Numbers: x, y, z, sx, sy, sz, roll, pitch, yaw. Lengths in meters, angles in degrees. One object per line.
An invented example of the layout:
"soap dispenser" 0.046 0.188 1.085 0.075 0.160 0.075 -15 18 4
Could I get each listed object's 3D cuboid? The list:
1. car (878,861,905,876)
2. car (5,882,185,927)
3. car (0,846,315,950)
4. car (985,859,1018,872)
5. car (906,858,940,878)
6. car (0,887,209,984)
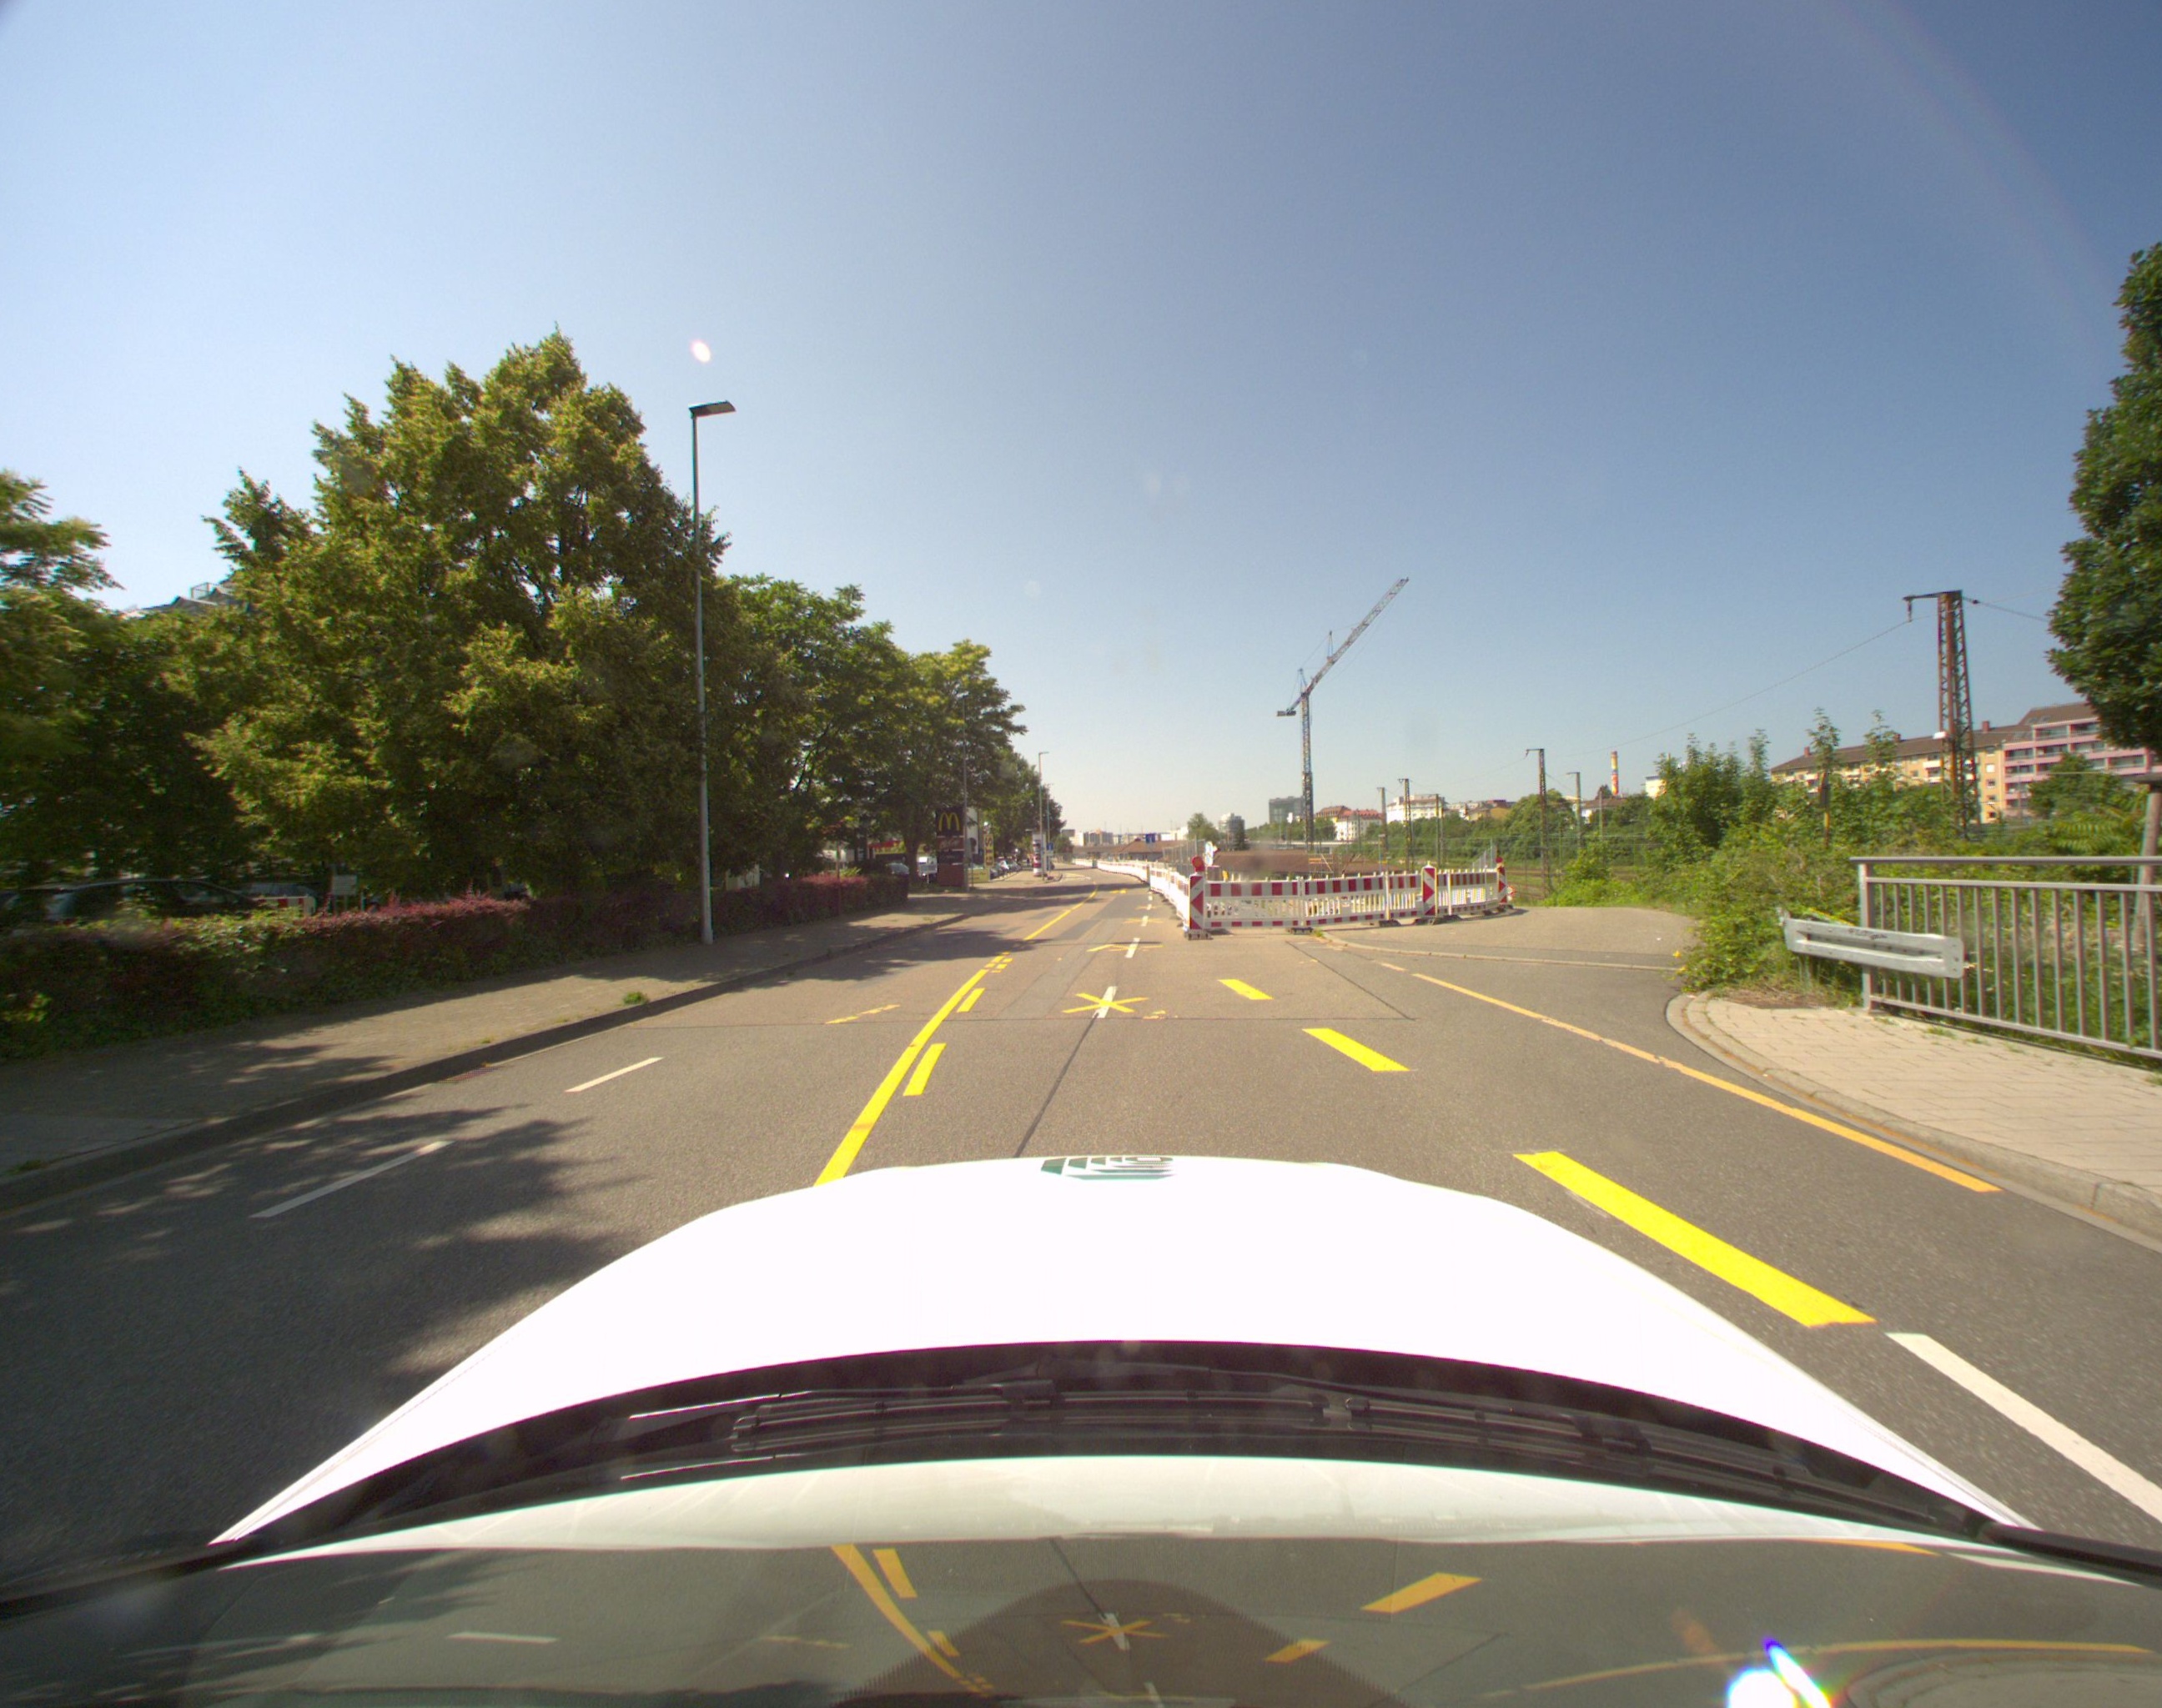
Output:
"car" -18.572 1.396 79.604 1.577 1.421 3.651 -1 -1 -30
"car" -28.964 1.465 23.989 3.372 1.090 1.405 -2 0 -4
"car" -16.545 0.693 14.622 1.671 1.603 3.766 -2 0 9
"car" -9.703 1.381 99.008 3.650 1.421 1.578 -2 -1 13
"car" -15.776 1.408 81.132 2.008 1.904 3.958 -1 -1 -33
"car" -18.929 1.454 14.356 1.773 1.510 4.664 -2 0 6
